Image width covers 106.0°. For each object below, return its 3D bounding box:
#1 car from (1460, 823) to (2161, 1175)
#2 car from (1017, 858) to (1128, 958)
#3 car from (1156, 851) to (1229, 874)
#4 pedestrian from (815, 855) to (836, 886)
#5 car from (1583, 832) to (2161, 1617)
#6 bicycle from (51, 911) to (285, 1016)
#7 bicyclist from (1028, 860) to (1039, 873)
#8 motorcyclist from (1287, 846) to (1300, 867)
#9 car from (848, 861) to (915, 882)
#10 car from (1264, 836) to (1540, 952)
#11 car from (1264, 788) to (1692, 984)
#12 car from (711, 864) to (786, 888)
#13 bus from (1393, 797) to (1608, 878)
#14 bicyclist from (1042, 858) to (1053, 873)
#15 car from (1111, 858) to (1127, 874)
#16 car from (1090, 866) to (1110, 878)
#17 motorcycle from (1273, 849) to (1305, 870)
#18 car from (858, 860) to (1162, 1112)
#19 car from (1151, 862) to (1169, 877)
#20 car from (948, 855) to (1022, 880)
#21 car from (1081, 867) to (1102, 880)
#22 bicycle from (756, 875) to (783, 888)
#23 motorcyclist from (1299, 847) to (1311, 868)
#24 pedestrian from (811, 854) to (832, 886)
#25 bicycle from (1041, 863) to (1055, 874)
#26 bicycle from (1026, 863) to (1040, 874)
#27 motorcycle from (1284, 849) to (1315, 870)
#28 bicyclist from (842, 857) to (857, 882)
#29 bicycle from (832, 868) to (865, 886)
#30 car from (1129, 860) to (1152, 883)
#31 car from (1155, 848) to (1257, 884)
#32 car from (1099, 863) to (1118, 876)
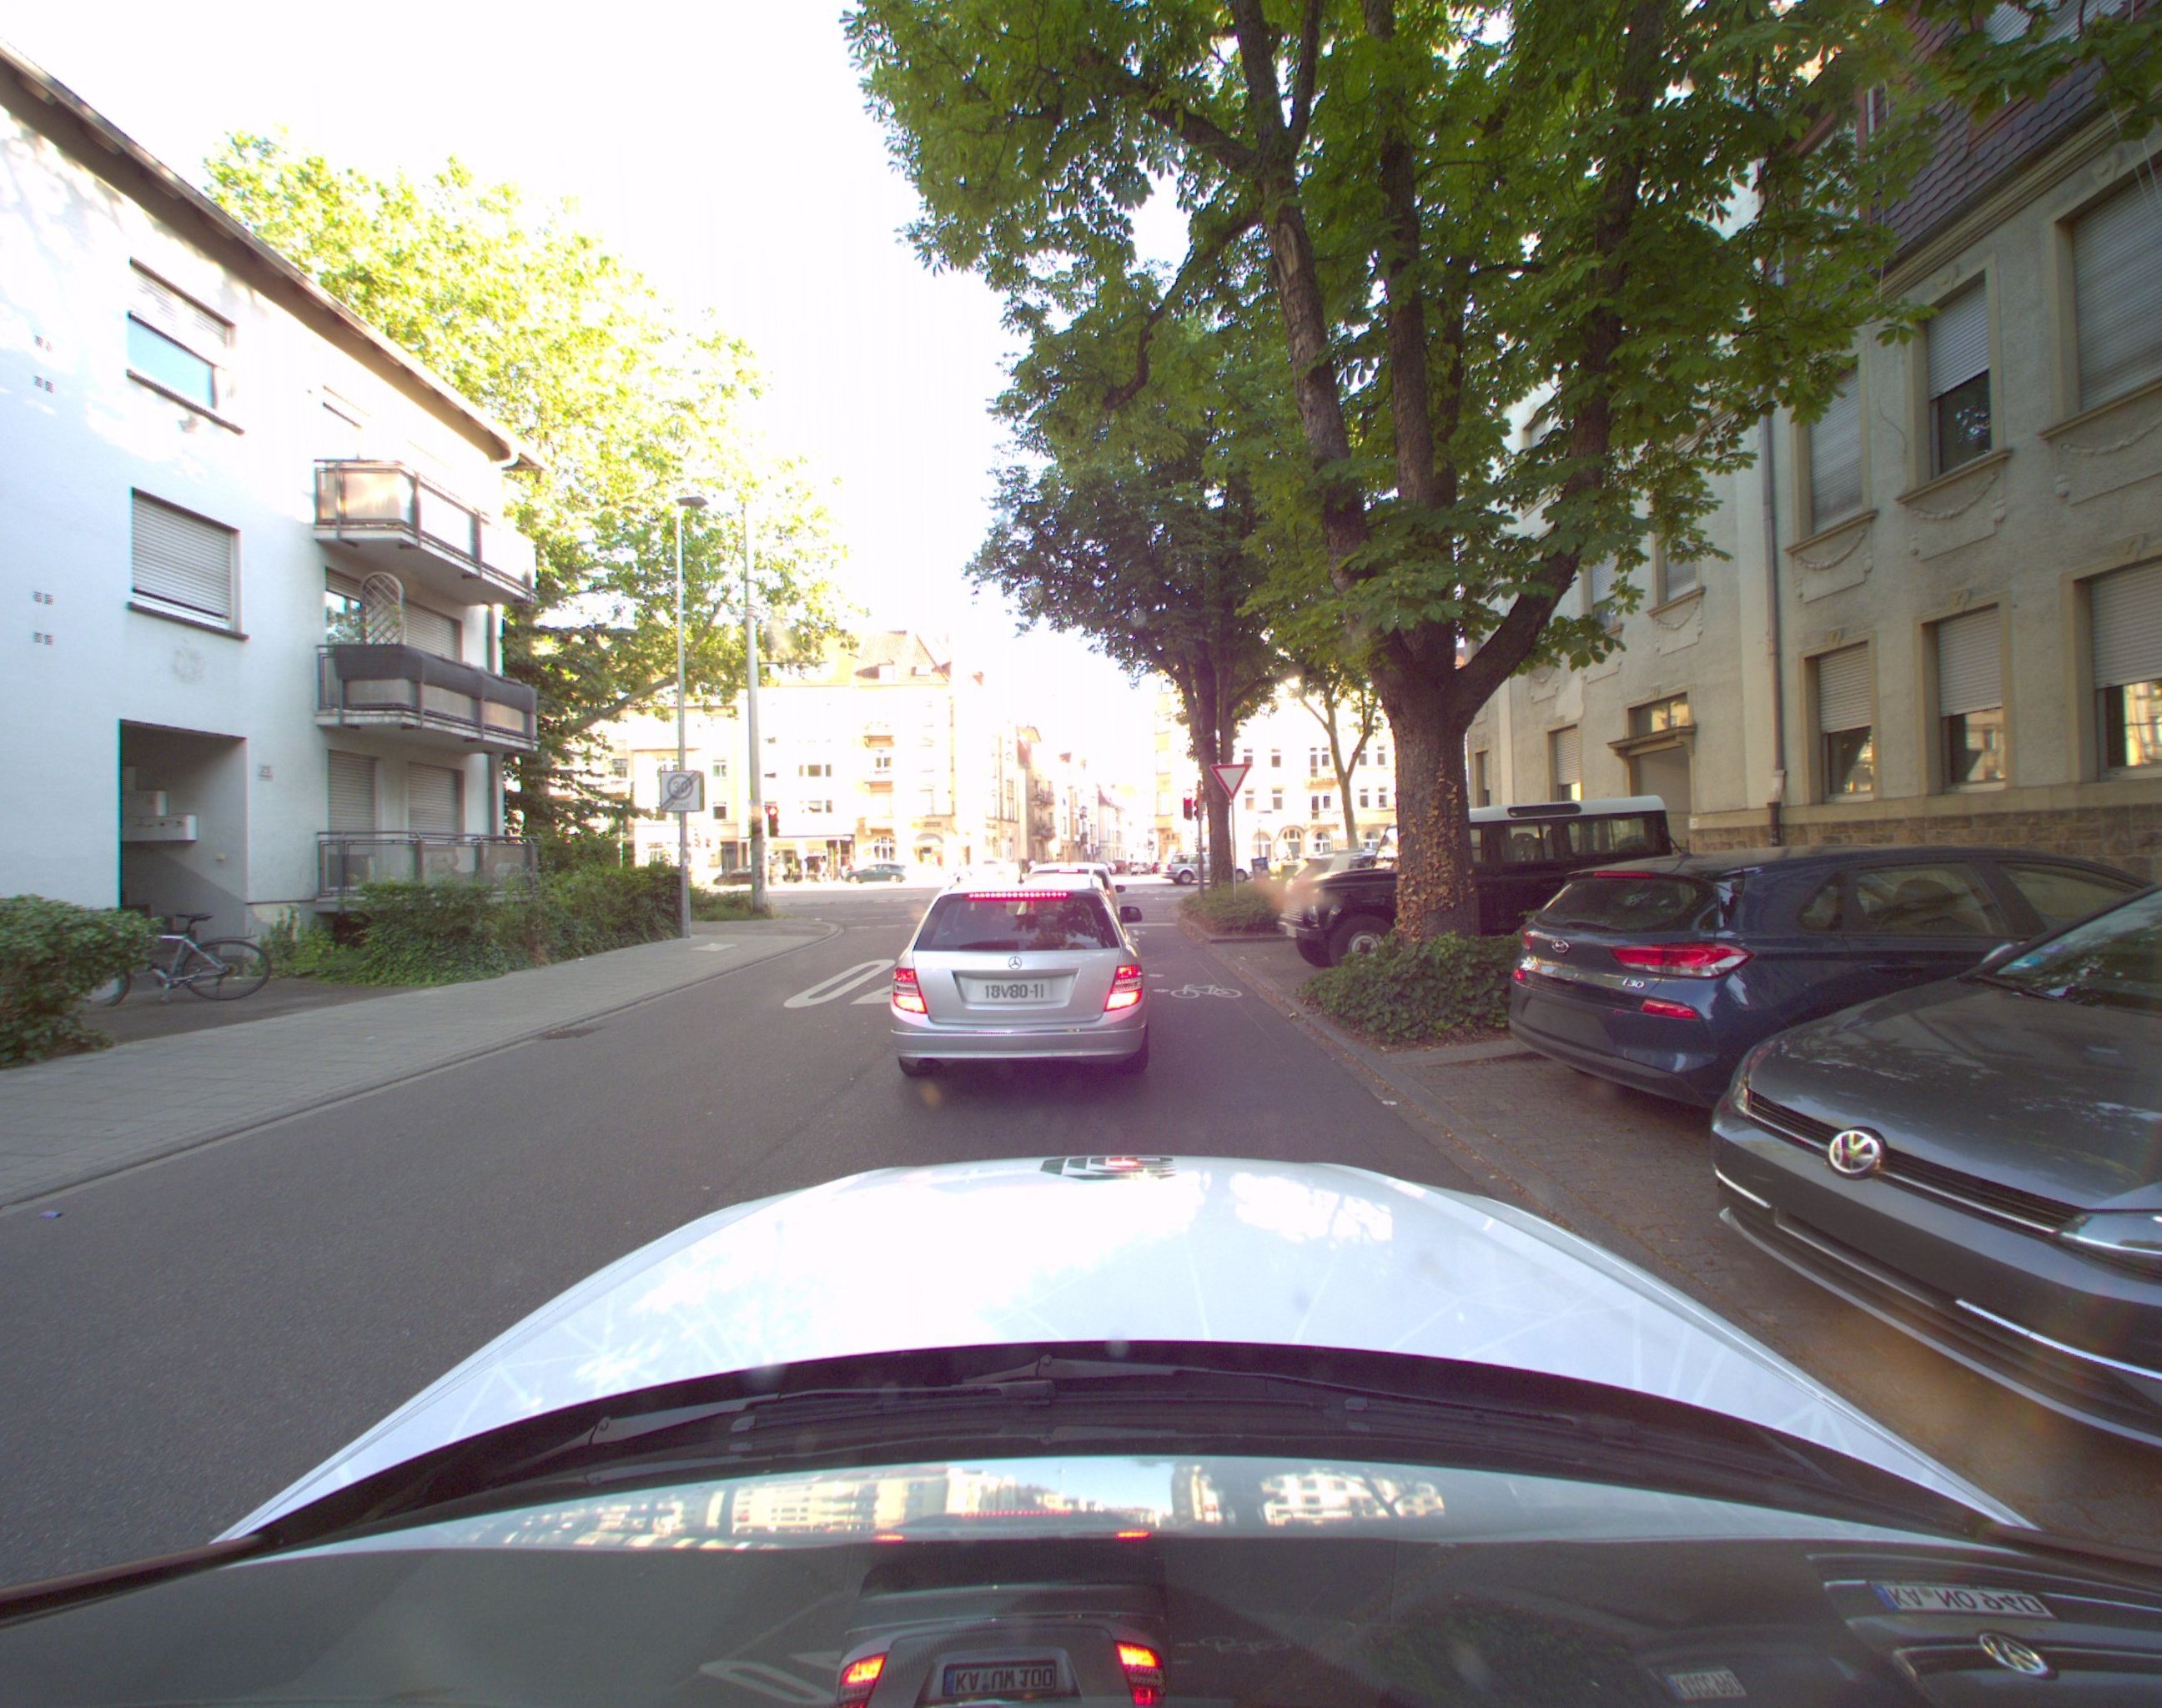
[{"bbox_3d":[4.392,0.628,4.559,3.714,1.452,1.707,-3,-1,-2],"label":"car"},{"bbox_3d":[-0.113,0.809,14.175,1.614,1.447,4.344,-1,0,0],"label":"car"},{"bbox_3d":[7.806,0.577,57.317,4.871,1.452,1.857,-1,0,-2],"label":"car"},{"bbox_3d":[-20.550,1.289,65.483,1.343,2.464,1.059,-1,0,-3],"label":"pedestrian"},{"bbox_3d":[4.027,0.645,2.387,4.042,1.452,1.722,-3,-1,-2],"label":"car"},{"bbox_3d":[-10.000,1.163,9.011,1.630,1.008,0.511,2,-2,-39],"label":"bicycle"},{"bbox_3d":[-4.310,1.110,73.729,0.765,1.156,0.755,-1,0,13],"label":"bicyclist"},{"bbox_3d":[14.880,0.196,57.066,0.679,1.452,0.568,-2,0,-2],"label":"motorcyclist"},{"bbox_3d":[-13.725,1.189,56.176,4.212,1.349,1.662,-1,0,-4],"label":"car"},{"bbox_3d":[5.025,0.611,13.093,3.714,1.570,1.707,-3,-1,-2],"label":"car"},{"bbox_3d":[4.736,0.361,10.133,4.453,2.036,1.700,-3,-1,-2],"label":"car"},{"bbox_3d":[-21.177,1.383,51.978,4.026,1.360,1.661,-2,0,-4],"label":"car"},{"bbox_3d":[18.356,-0.715,35.904,8.166,3.201,2.905,-2,0,-7],"label":"bus"},{"bbox_3d":[-3.010,1.020,73.709,0.765,1.290,0.755,-1,0,13],"label":"bicyclist"},{"bbox_3d":[5.478,1.707,117.403,1.776,2.204,4.012,-1,0,10],"label":"car"},{"bbox_3d":[2.394,2.244,102.638,1.824,1.402,4.012,-1,0,10],"label":"car"},{"bbox_3d":[14.566,0.386,57.045,2.028,1.452,0.568,-2,0,-3],"label":"motorcycle"},{"bbox_3d":[-0.408,0.793,7.087,1.771,1.452,4.547,-1,0,0],"label":"car"},{"bbox_3d":[9.874,1.894,101.862,1.824,1.744,4.012,-1,0,10],"label":"car"},{"bbox_3d":[-6.308,0.895,53.725,4.694,1.460,1.834,-2,0,-4],"label":"car"},{"bbox_3d":[1.322,2.292,97.168,1.824,1.402,4.012,-1,0,10],"label":"car"},{"bbox_3d":[-22.080,1.950,57.769,1.613,0.876,0.636,-1,0,-4],"label":"bicycle"},{"bbox_3d":[16.041,0.234,58.388,0.679,1.452,0.568,-2,0,-2],"label":"motorcyclist"},{"bbox_3d":[-20.547,1.271,64.468,1.343,2.464,1.059,-1,0,-3],"label":"pedestrian"},{"bbox_3d":[-3.005,1.314,73.706,0.765,0.934,1.947,-1,0,13],"label":"bicycle"},{"bbox_3d":[-4.327,1.332,73.650,0.765,0.940,1.947,-1,0,13],"label":"bicycle"},{"bbox_3d":[15.630,0.368,58.379,2.028,1.452,0.568,-2,0,-3],"label":"motorcycle"},{"bbox_3d":[-17.275,1.174,60.774,0.889,1.859,0.636,-1,0,-3],"label":"bicyclist"},{"bbox_3d":[-17.346,1.711,60.763,2.251,1.246,0.636,-1,0,-3],"label":"bicycle"},{"bbox_3d":[6.303,1.805,85.905,2.018,2.279,4.012,-1,0,10],"label":"car"},{"bbox_3d":[5.688,0.542,37.361,4.338,1.497,1.658,-2,0,-5],"label":"car"},{"bbox_3d":[3.705,2.056,108.844,1.824,1.663,4.012,-1,0,10],"label":"car"}]
